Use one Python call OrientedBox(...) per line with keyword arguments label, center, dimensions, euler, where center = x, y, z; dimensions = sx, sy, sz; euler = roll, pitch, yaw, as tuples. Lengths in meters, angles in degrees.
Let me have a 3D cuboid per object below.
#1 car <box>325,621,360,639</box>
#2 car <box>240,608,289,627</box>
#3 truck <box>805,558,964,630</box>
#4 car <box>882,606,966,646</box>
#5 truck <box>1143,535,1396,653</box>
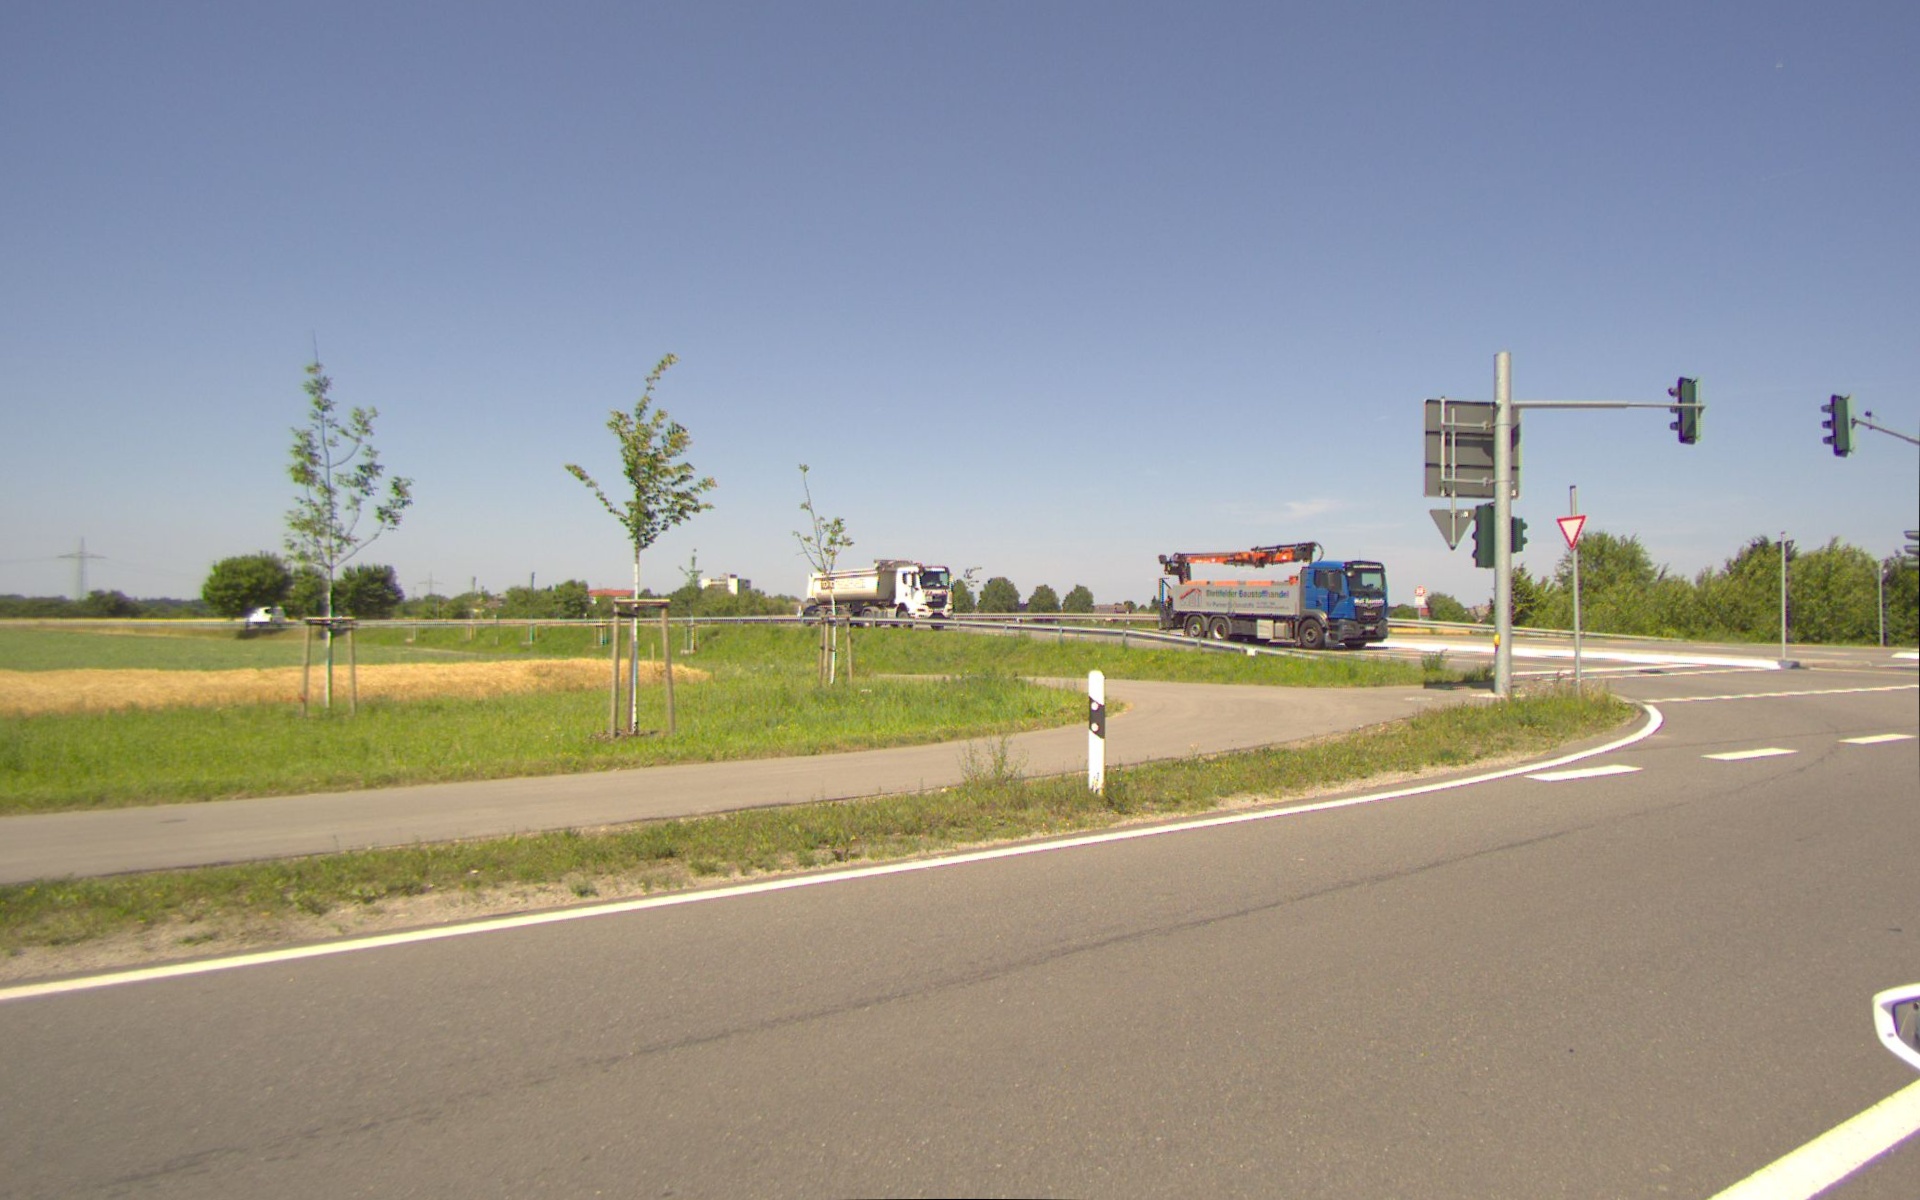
OrientedBox(label="car", center=(-78.083, 3.727, 126.974), dimensions=(3.925, 2.040, 1.998), euler=(2, 0, 26))
OrientedBox(label="car", center=(-92.096, 2.272, 133.084), dimensions=(5.818, 2.454, 2.248), euler=(1, 0, 17))
OrientedBox(label="truck", center=(-4.578, -0.325, 56.846), dimensions=(2.956, 3.663, 11.897), euler=(0, 0, -38))
OrientedBox(label="car", center=(-2.394, 1.632, 65.398), dimensions=(2.532, 2.454, 5.873), euler=(1, 0, -37))
OrientedBox(label="truck", center=(11.238, -0.217, 37.956), dimensions=(2.595, 3.844, 10.031), euler=(0, 0, -30))
